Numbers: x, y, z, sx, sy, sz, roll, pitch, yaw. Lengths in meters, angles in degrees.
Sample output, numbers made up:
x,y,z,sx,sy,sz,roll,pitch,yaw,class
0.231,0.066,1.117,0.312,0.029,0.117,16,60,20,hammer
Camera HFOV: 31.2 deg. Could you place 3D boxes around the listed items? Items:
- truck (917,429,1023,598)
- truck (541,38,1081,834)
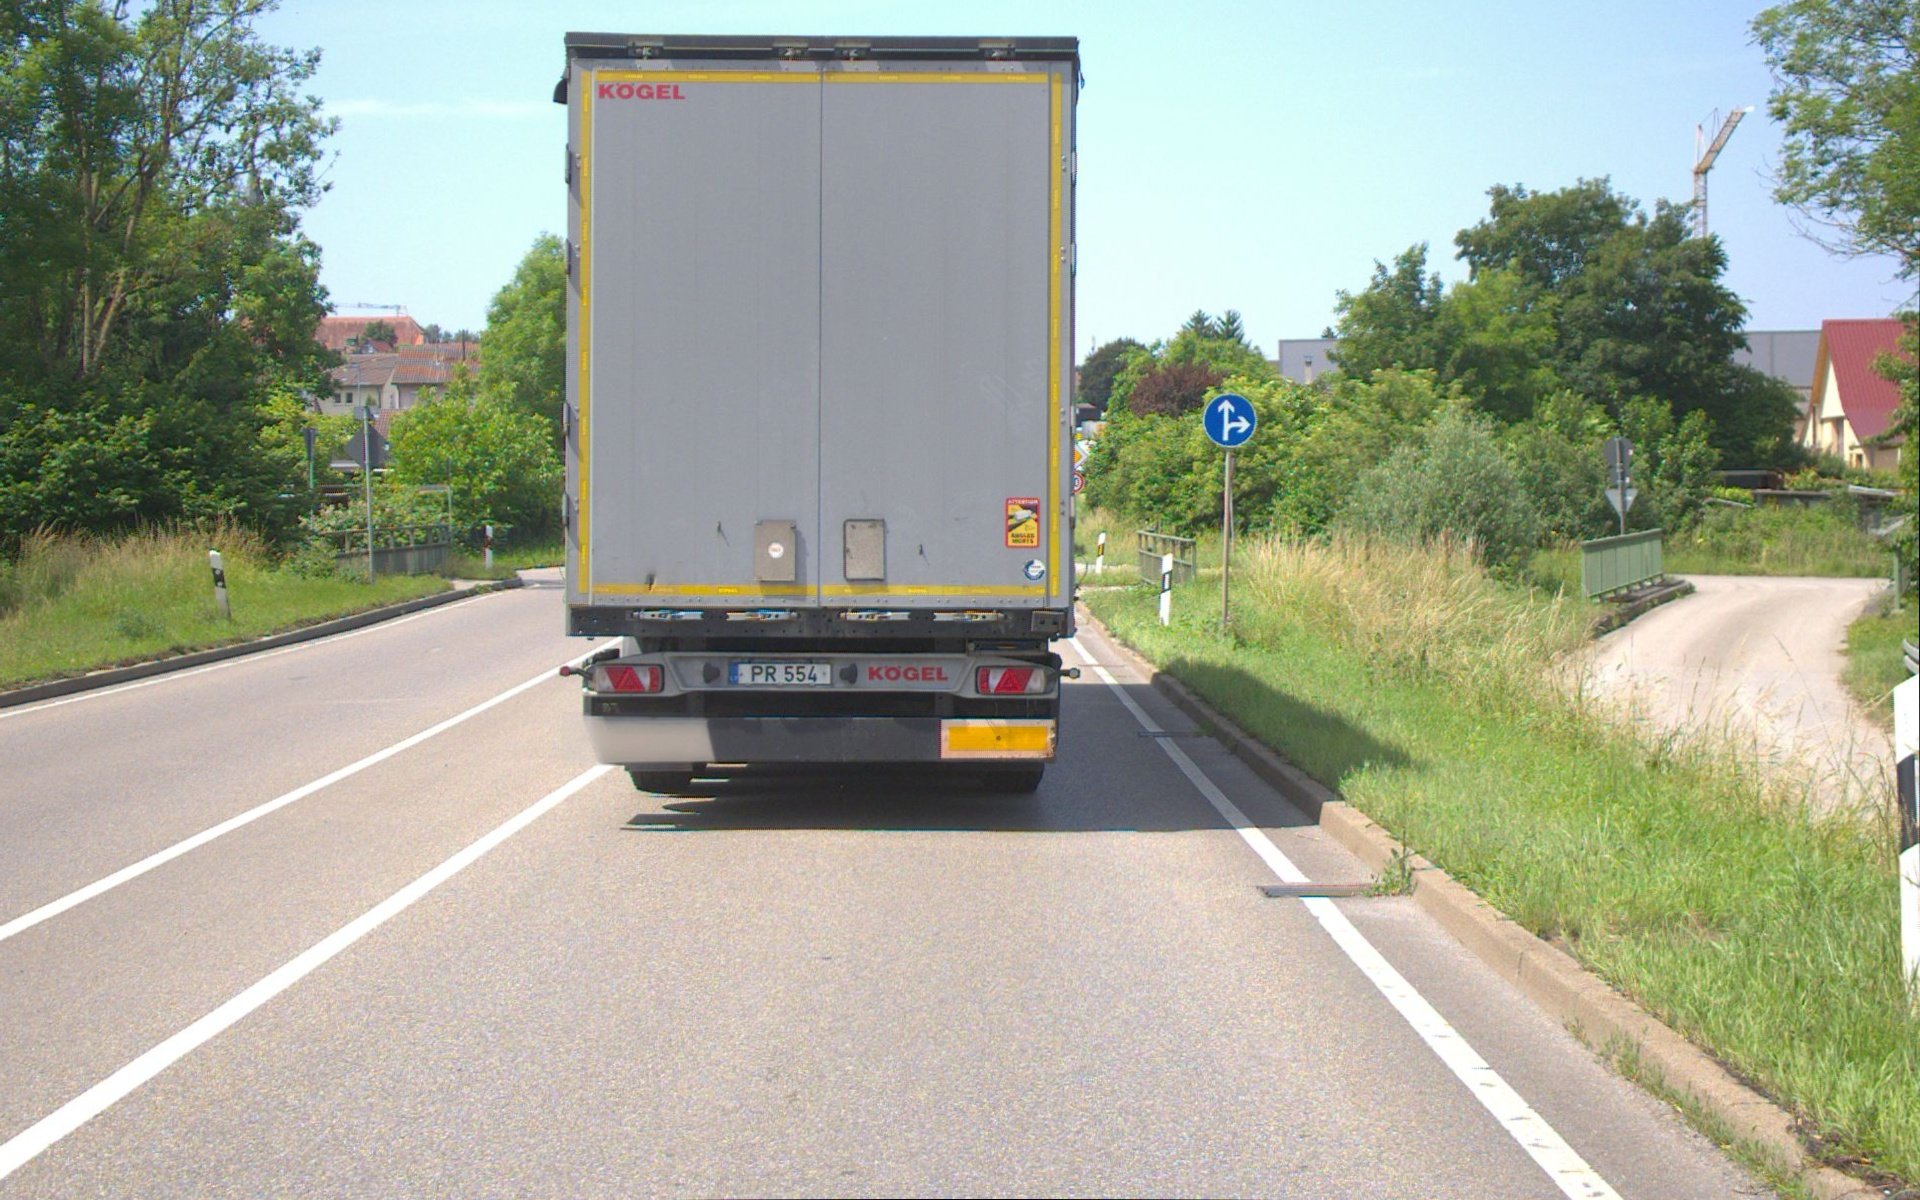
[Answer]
x,y,z,sx,sy,sz,roll,pitch,yaw,class
0.206,-2.426,99.602,2.646,4.585,10.817,1,1,-2,truck
-0.824,-0.887,21.355,2.647,3.903,8.826,0,1,-1,truck
